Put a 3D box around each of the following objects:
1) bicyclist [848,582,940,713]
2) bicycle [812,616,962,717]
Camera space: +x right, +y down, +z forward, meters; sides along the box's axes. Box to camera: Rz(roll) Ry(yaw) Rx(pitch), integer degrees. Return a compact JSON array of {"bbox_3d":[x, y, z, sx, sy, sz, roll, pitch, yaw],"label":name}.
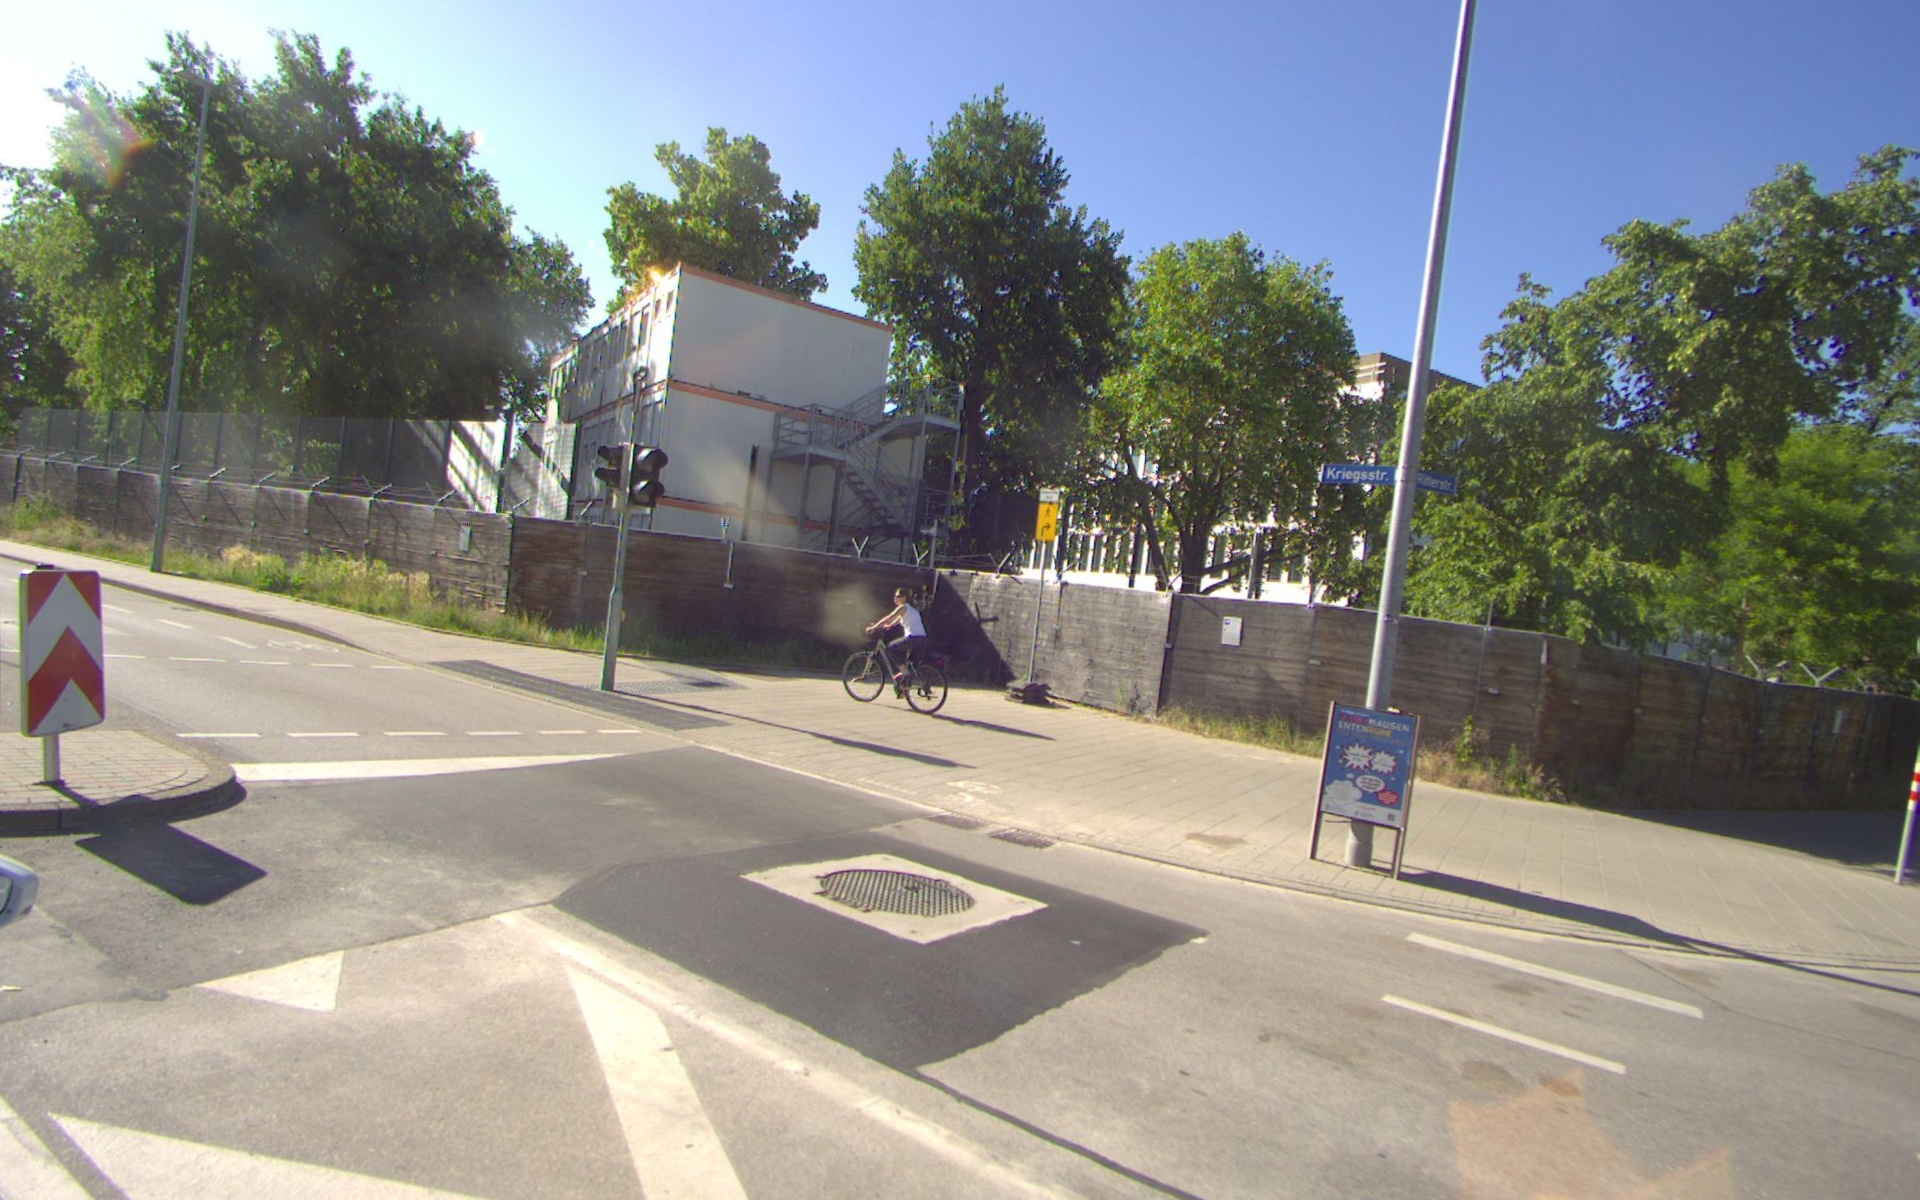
[{"bbox_3d":[-0.924,0.661,14.127,0.838,1.694,0.741,7,2,32],"label":"bicyclist"},{"bbox_3d":[-1.059,0.915,14.238,2.089,1.127,0.602,7,2,32],"label":"bicycle"}]
